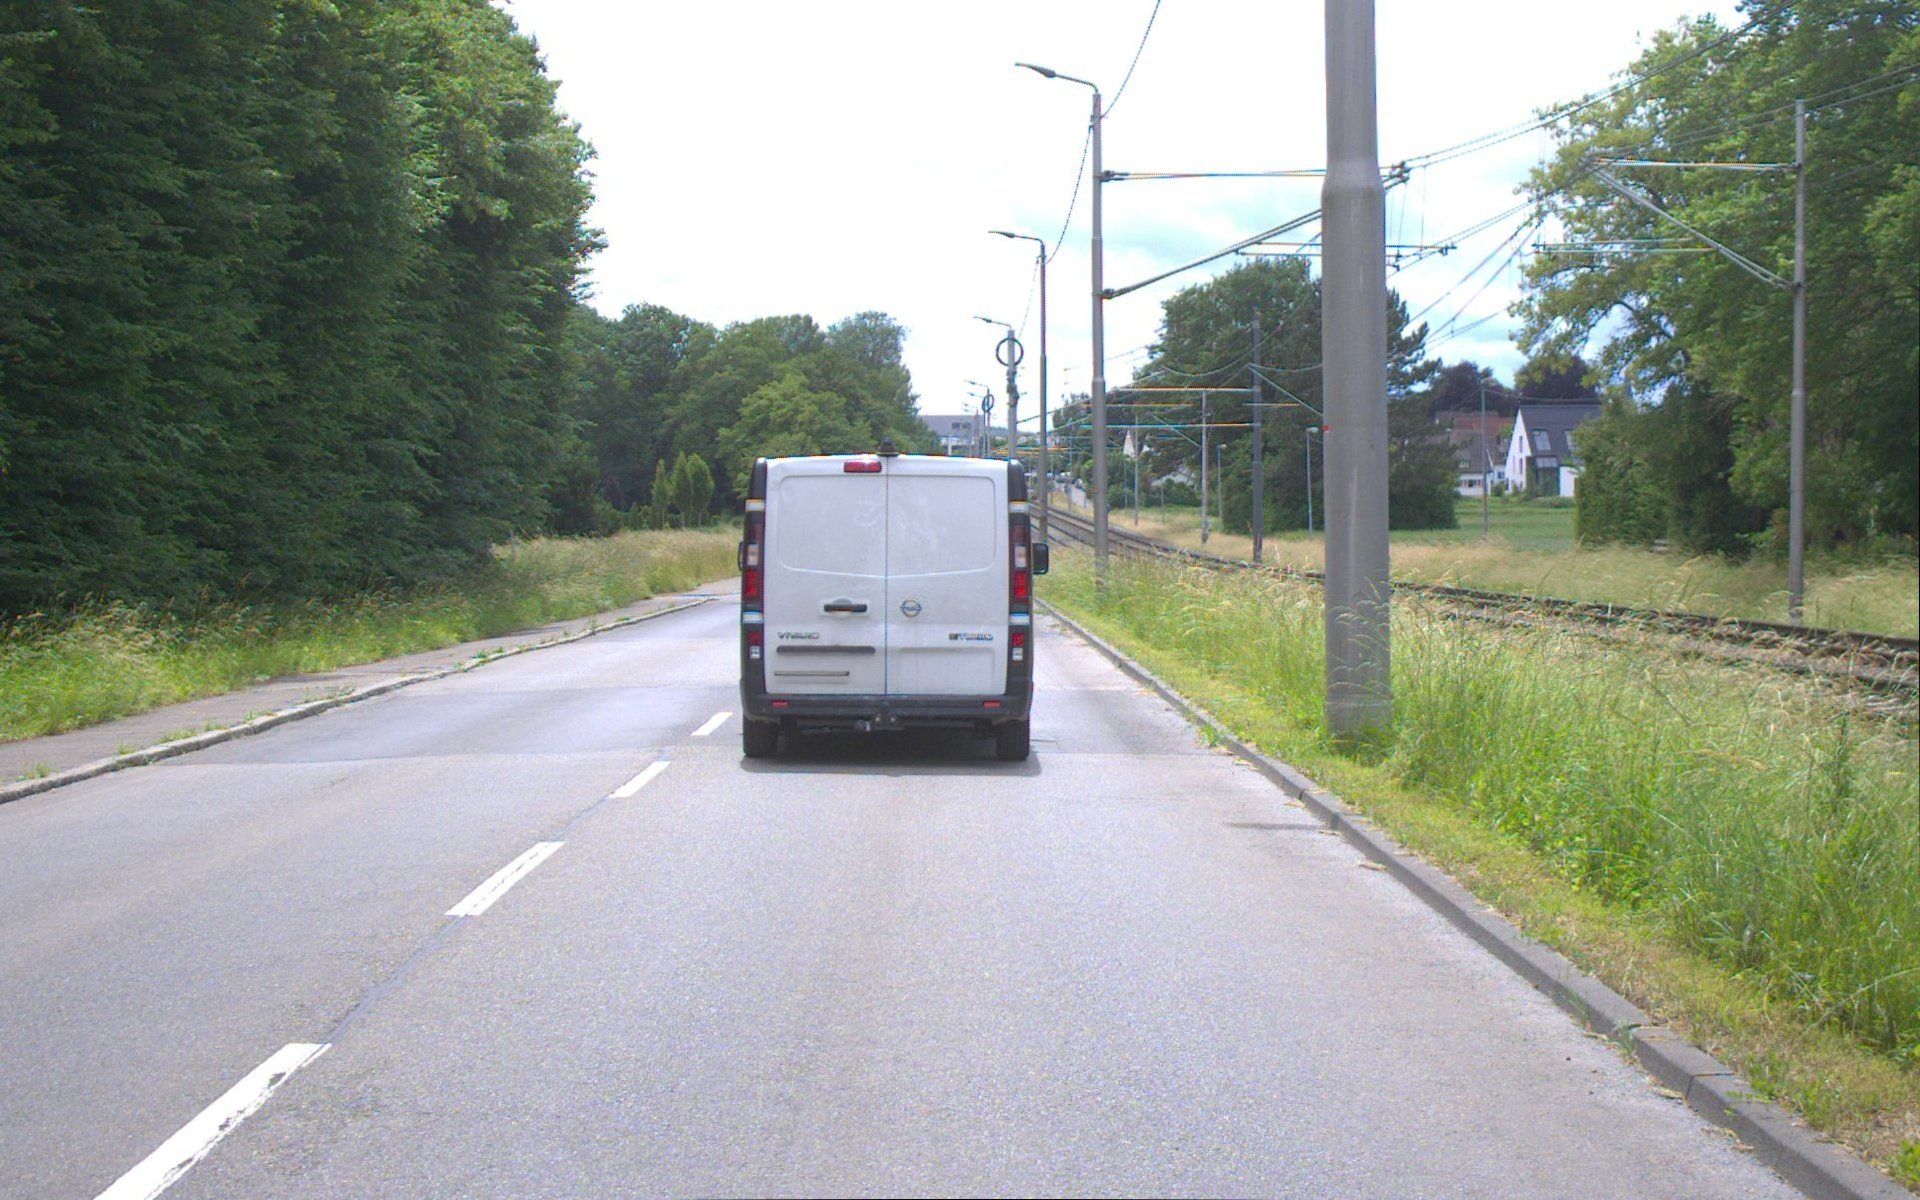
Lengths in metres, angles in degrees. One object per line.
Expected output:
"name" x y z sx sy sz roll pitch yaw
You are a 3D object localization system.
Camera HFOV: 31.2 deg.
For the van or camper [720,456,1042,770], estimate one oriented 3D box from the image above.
"van or camper" -0.437 0.067 23.191 1.942 1.890 4.284 -1 0 1
